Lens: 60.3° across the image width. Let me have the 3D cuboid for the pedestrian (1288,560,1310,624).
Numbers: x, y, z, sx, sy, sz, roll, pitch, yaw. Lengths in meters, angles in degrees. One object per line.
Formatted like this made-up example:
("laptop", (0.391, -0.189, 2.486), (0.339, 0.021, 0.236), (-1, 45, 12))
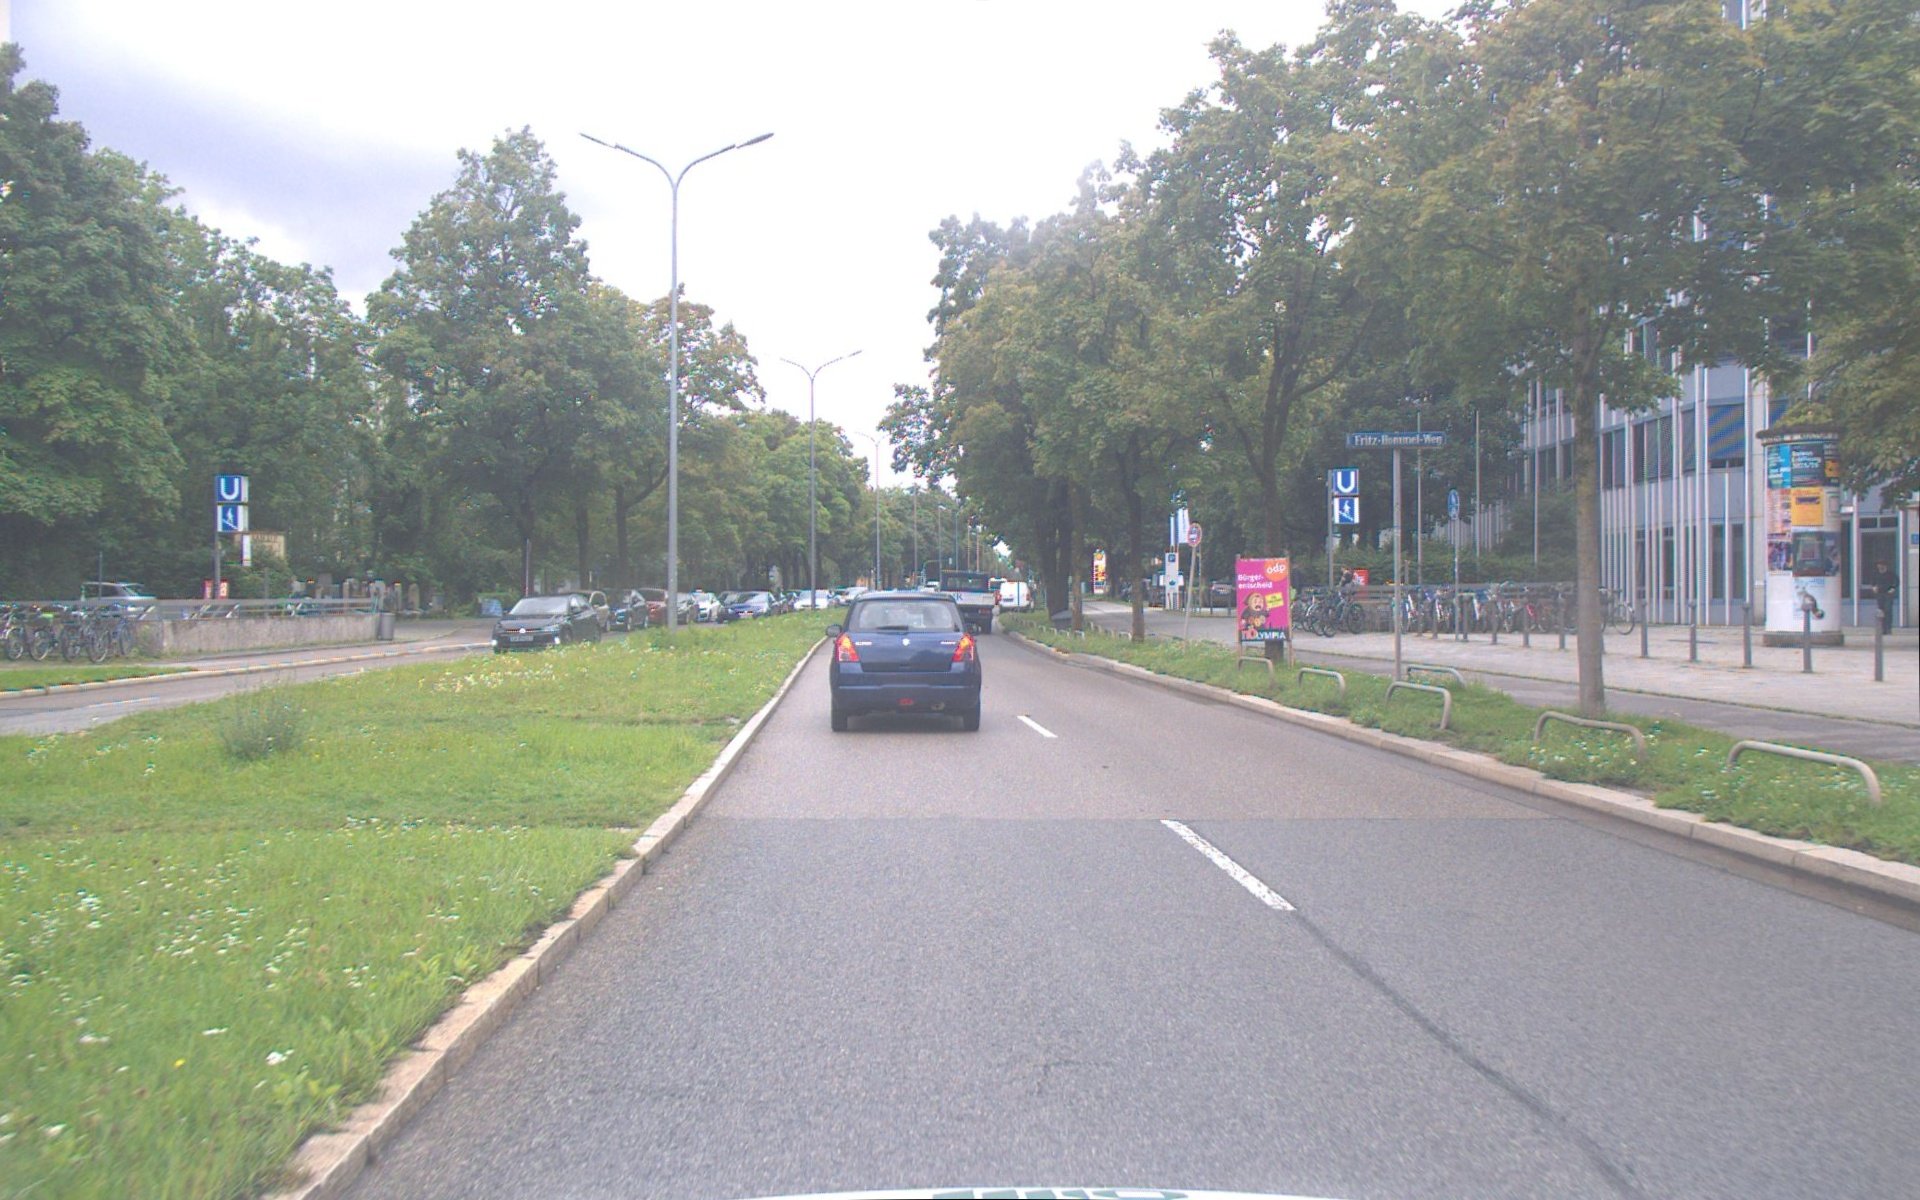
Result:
("pedestrian", (10.459, -0.245, 50.983), (0.637, 1.932, 0.750), (-1, 0, 12))

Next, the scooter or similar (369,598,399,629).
("scooter or similar", (-21.924, 0.521, 63.000), (0.426, 1.146, 1.291), (-1, 0, 15))

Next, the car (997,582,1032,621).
("car", (3.289, 0.063, 99.058), (1.946, 2.195, 5.557), (-1, 0, 3))

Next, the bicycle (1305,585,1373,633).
("bicycle", (9.602, 0.212, 41.889), (2.024, 1.108, 0.595), (-3, -1, -43))

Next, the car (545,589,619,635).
("car", (-14.043, 0.412, 61.570), (1.612, 1.642, 3.821), (1, 0, 4))

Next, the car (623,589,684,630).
("car", (-13.463, 0.385, 72.806), (1.703, 1.680, 4.607), (2, 0, 1))

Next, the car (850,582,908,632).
("car", (-2.648, 0.200, 53.259), (1.764, 1.525, 3.657), (-1, 0, -4))

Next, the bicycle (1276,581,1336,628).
("bicycle", (9.533, 0.120, 45.498), (1.939, 1.127, 0.571), (-6, 4, -43))

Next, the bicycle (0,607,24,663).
("bicycle", (-20.029, 0.740, 33.884), (0.399, 1.123, 1.955), (3, 1, 5))

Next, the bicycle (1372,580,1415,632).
("bicycle", (10.342, 0.124, 39.479), (0.478, 1.210, 1.954), (-1, 0, -1))

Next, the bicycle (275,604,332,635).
("bicycle", (-22.042, 0.655, 55.518), (1.725, 1.024, 0.437), (-1, 0, 2))

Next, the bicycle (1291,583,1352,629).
("bicycle", (9.691, 0.158, 44.315), (1.939, 1.102, 0.588), (-5, 3, -43))

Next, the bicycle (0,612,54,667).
("bicycle", (-19.457, 0.806, 33.984), (0.399, 1.048, 1.955), (3, 1, 5))

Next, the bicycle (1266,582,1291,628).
("bicycle", (9.450, 0.138, 49.046), (0.519, 1.248, 1.863), (-3, 2, 6))

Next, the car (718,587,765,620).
("car", (-10.532, 0.155, 79.981), (1.656, 1.510, 3.968), (-1, 0, 1))

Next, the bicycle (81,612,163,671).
("bicycle", (-17.168, 0.827, 33.937), (0.399, 1.108, 2.086), (3, 1, 5))

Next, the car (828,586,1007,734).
("car", (-0.458, 0.622, 19.189), (1.857, 1.525, 3.660), (-1, 0, 0))

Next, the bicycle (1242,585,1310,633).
("bicycle", (8.830, 0.237, 46.153), (1.930, 1.209, 0.590), (-4, 2, -32))

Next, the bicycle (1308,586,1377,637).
("bicycle", (9.353, 0.262, 40.365), (2.016, 1.118, 0.571), (-4, 0, -44))

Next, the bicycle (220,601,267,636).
("bicycle", (-23.779, 0.593, 54.919), (0.566, 1.118, 2.033), (-1, 0, 3))

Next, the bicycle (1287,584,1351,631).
("bicycle", (9.300, 0.194, 42.850), (1.939, 1.084, 0.571), (-4, 1, -43))

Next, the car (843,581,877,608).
("car", (-6.445, -0.365, 106.850), (1.729, 1.653, 4.378), (-1, 0, 3))

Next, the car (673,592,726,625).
("car", (-12.974, 0.383, 82.664), (1.702, 1.556, 4.477), (1, 0, 3))

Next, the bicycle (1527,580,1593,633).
("bicycle", (14.081, 0.140, 38.855), (0.502, 1.210, 2.138), (-1, 0, -8))

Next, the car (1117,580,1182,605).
("car", (16.250, -0.639, 142.260), (5.356, 2.120, 2.147), (-1, 0, 2))

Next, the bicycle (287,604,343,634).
("bicycle", (-22.232, 0.651, 57.024), (1.725, 1.024, 0.437), (-1, 0, 2))

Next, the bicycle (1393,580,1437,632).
("bicycle", (10.852, 0.137, 39.505), (0.478, 1.210, 1.954), (-1, 0, -1))

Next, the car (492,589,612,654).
("car", (-9.578, 0.468, 39.134), (1.745, 1.430, 4.102), (-1, 0, 1))

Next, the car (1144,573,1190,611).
("car", (13.247, -0.517, 106.157), (2.218, 2.347, 6.269), (-1, 0, 1))

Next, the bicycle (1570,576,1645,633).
("bicycle", (15.439, 0.099, 39.502), (0.499, 1.317, 2.474), (-1, 0, -8))

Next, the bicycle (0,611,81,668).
("bicycle", (-18.882, 0.795, 33.972), (0.399, 1.091, 1.955), (3, 1, 5))

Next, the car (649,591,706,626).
("car", (-13.250, 0.372, 77.793), (1.702, 1.508, 4.335), (2, 0, 3))

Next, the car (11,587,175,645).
("car", (-25.597, 0.459, 48.897), (3.903, 1.616, 1.750), (-1, 0, 4))

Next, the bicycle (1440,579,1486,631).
("bicycle", (12.015, 0.107, 39.569), (0.478, 1.210, 1.954), (-1, 0, -1))

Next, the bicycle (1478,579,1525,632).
("bicycle", (12.854, 0.125, 39.292), (0.436, 1.210, 1.954), (-1, 0, -1))

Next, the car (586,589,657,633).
("car", (-13.663, 0.406, 67.041), (1.702, 1.672, 4.686), (1, 0, 3))

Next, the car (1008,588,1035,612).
("car", (3.941, -0.005, 105.278), (1.666, 1.422, 4.234), (-1, 0, 3))

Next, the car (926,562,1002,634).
("car", (0.203, -0.080, 60.125), (2.368, 2.487, 5.089), (1, 0, 4))

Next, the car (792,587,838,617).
("car", (-7.621, 0.070, 87.337), (1.875, 1.510, 4.866), (-1, 0, 1))

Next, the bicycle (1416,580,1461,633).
("bicycle", (11.422, 0.142, 39.506), (0.478, 1.210, 1.954), (-1, 0, -1))

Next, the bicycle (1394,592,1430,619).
("bicycle", (15.706, 0.192, 57.486), (0.668, 0.868, 1.834), (-1, 2, -2))

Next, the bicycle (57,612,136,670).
("bicycle", (-17.687, 0.832, 33.914), (0.399, 1.096, 1.955), (3, 1, 5))

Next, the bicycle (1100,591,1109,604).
("bicycle", (13.327, -0.235, 152.555), (0.733, 1.203, 2.247), (-1, 0, 2))

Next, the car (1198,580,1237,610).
("car", (16.573, -0.323, 106.600), (1.804, 1.850, 4.472), (-1, 0, 1))

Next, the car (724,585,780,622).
("car", (-8.509, 0.136, 67.872), (1.656, 1.426, 3.968), (-1, 0, 1))

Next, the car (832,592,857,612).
("car", (-10.004, 0.130, 143.289), (1.721, 1.622, 4.490), (2, 0, 2))

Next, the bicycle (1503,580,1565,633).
("bicycle", (13.528, 0.134, 39.037), (0.437, 1.210, 2.138), (-1, 0, -8))

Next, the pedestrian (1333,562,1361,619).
("pedestrian", (12.024, -0.304, 51.355), (0.766, 1.744, 0.751), (-1, 0, 9))

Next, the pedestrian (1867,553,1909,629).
("pedestrian", (22.337, -0.226, 39.823), (0.672, 1.803, 0.770), (-1, 0, 13))

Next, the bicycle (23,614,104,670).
("bicycle", (-18.346, 0.844, 33.897), (0.399, 1.058, 1.955), (3, 1, 5))

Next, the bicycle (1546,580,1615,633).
("bicycle", (14.709, 0.141, 39.266), (0.566, 1.210, 2.138), (-1, 0, -8))
